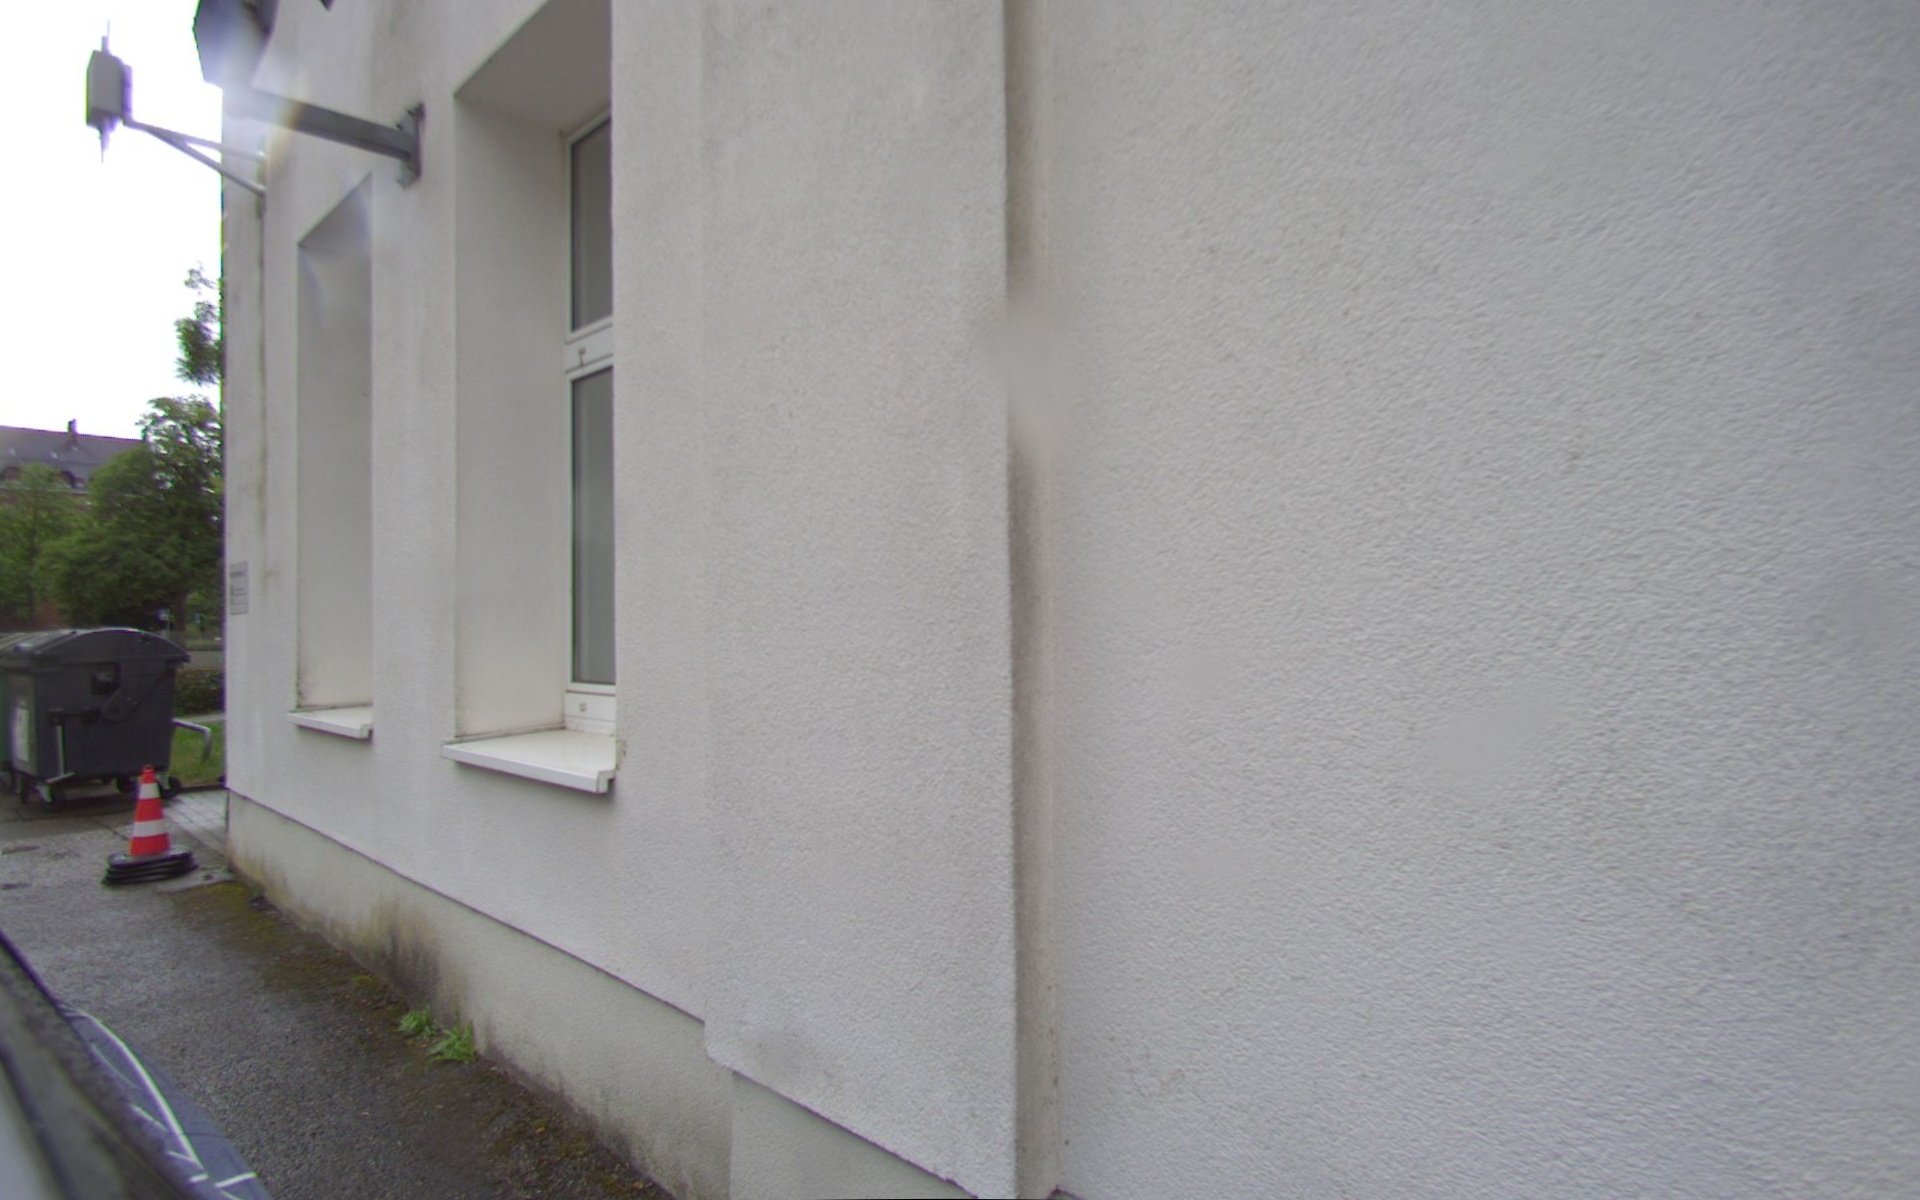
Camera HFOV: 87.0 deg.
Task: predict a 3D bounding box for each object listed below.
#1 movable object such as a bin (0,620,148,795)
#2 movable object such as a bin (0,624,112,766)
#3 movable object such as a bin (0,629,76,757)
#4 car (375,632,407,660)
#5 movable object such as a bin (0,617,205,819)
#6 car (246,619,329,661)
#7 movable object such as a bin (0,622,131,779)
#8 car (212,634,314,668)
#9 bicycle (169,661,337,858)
[{"bbox_3d":[-8.556,0.946,9.471,1.495,1.494,1.153,-1,-3,38],"label":"movable object such as a bin"},{"bbox_3d":[-10.602,1.063,11.522,1.400,1.494,1.154,-4,-2,36],"label":"movable object such as a bin"},{"bbox_3d":[-11.768,1.125,12.545,1.087,1.484,1.489,-1,-1,-37],"label":"movable object such as a bin"},{"bbox_3d":[-36.701,2.946,65.249,1.755,1.577,4.059,0,0,-30],"label":"car"},{"bbox_3d":[-7.306,0.908,8.491,1.592,1.494,1.153,-1,-3,38],"label":"movable object such as a bin"},{"bbox_3d":[-44.113,2.603,66.343,5.460,2.654,2.279,-1,-2,30],"label":"car"},{"bbox_3d":[-9.562,1.004,10.560,1.401,1.494,1.153,-3,-2,39],"label":"movable object such as a bin"},{"bbox_3d":[-32.676,2.392,47.446,3.965,1.482,1.880,-2,-3,17],"label":"car"},{"bbox_3d":[-4.778,0.997,6.805,1.520,1.124,0.608,-1,-2,43],"label":"bicycle"}]
